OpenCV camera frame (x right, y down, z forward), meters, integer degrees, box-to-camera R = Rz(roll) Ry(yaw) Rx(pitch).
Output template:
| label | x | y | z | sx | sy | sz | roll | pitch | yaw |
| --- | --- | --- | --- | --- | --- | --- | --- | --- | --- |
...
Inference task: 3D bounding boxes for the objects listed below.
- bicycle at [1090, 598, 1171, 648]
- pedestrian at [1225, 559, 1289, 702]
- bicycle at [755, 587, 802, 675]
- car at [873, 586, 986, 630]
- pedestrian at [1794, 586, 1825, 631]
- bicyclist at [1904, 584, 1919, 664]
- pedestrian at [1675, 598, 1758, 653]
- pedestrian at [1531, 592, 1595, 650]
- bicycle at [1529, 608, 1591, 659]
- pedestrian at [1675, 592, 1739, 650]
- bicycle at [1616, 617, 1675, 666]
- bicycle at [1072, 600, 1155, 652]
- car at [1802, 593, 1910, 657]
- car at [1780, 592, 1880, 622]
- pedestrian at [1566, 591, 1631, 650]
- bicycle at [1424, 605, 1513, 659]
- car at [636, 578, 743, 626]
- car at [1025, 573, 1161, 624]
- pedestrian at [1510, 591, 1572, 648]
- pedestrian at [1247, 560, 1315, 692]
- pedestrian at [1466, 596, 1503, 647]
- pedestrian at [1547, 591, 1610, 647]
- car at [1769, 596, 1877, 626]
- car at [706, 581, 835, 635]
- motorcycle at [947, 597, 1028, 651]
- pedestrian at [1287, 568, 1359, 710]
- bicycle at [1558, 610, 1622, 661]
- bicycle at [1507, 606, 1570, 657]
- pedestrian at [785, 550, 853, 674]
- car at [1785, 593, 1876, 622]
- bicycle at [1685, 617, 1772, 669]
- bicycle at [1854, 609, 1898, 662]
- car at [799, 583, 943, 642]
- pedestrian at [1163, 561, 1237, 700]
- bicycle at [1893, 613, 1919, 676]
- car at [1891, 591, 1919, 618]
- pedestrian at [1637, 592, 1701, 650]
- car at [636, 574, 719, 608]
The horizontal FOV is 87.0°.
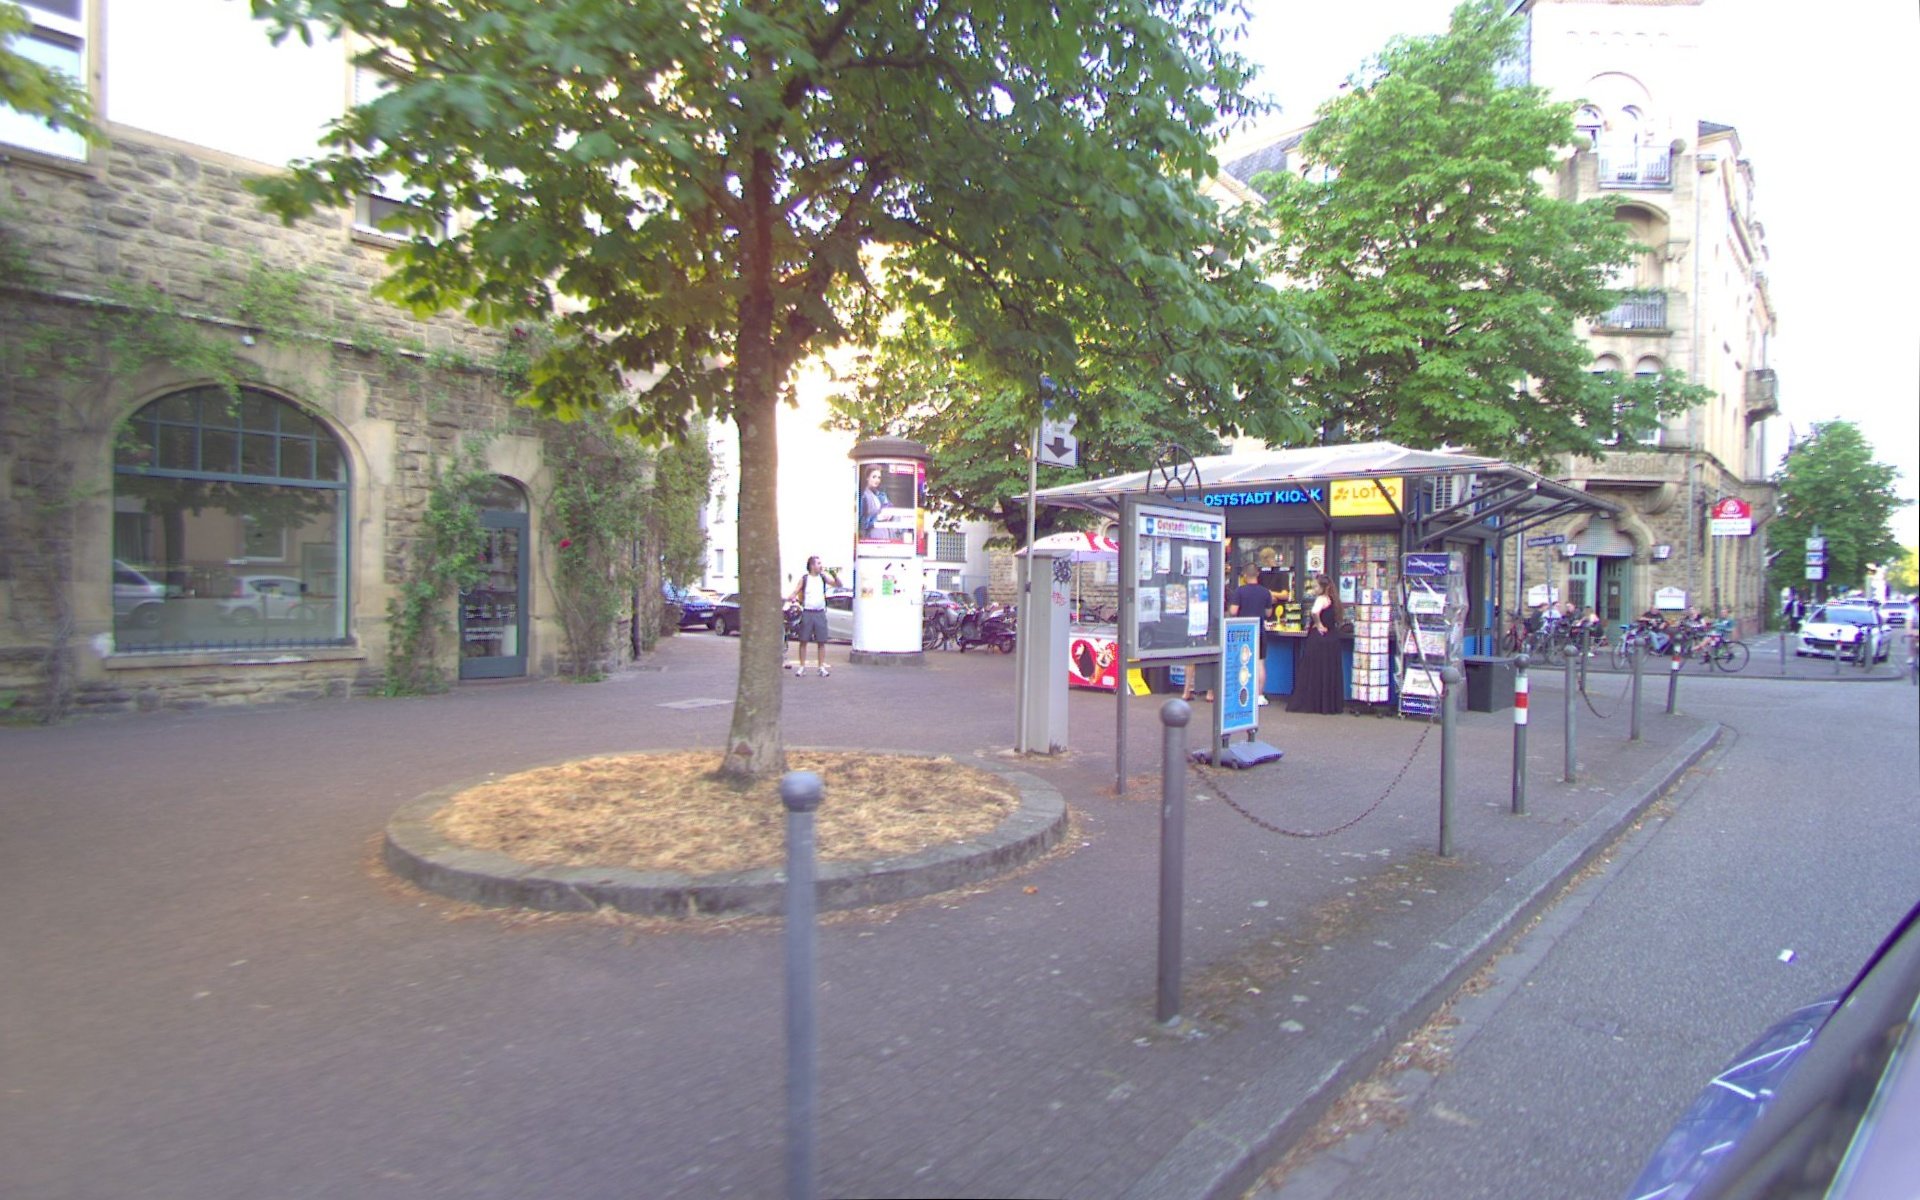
| label | x | y | z | sx | sy | sz | roll | pitch | yaw |
| --- | --- | --- | --- | --- | --- | --- | --- | --- | --- |
| bicycle | 3.696 | 0.487 | 22.021 | 1.734 | 1.008 | 0.570 | 2 | 1 | 44 |
| pedestrian | 3.554 | 0.351 | 12.141 | 0.668 | 1.657 | 0.588 | 1 | 1 | 13 |
| bicycle | -2.704 | 0.428 | 15.202 | 0.622 | 1.202 | 1.917 | 1 | 2 | -8 |
| car | -1.114 | 0.268 | 36.222 | 3.889 | 1.502 | 1.800 | 0 | 0 | 41 |
| pedestrian | 35.266 | 0.341 | 42.019 | 0.819 | 1.788 | 0.850 | 1 | 2 | -43 |
| bicyclist | 18.750 | 0.460 | 19.455 | 0.954 | 1.531 | 0.686 | 1 | 0 | -35 |
| pedestrian | 18.944 | 0.630 | 25.374 | 1.392 | 1.301 | 0.841 | 2 | 2 | 1 |
| pedestrian | 15.140 | 0.512 | 25.431 | 1.082 | 1.414 | 0.843 | 0 | 2 | -6 |
| bicycle | 13.517 | 0.733 | 22.776 | 1.799 | 1.084 | 0.476 | 0 | 0 | -34 |
| pedestrian | 19.245 | 0.542 | 26.083 | 1.081 | 1.414 | 0.843 | 2 | 1 | -25 |
| bicycle | 14.733 | 0.868 | 21.732 | 1.673 | 0.992 | 0.448 | 0 | 0 | -34 |
| bicycle | 3.228 | 0.524 | 21.430 | 1.734 | 1.008 | 0.570 | 2 | 1 | 44 |
| car | 24.763 | 0.652 | 27.931 | 4.388 | 1.502 | 1.766 | 1 | 3 | -43 |
| car | 49.553 | 0.380 | 57.694 | 4.289 | 1.548 | 1.795 | 2 | 1 | 43 |
| pedestrian | 16.081 | 0.505 | 25.499 | 1.081 | 1.414 | 0.843 | 0 | 2 | -6 |
| bicycle | 11.869 | 0.733 | 23.632 | 1.819 | 1.166 | 0.552 | 1 | 0 | 30 |
| car | -9.053 | 0.059 | 33.718 | 1.797 | 1.502 | 3.896 | 0 | 0 | -45 |
| car | 4.117 | -0.037 | 31.659 | 3.891 | 1.502 | 1.799 | 0 | 0 | 42 |
| pedestrian | 15.020 | 0.488 | 26.178 | 1.082 | 1.414 | 0.843 | 0 | 2 | -6 |
| pedestrian | 4.163 | 0.317 | 13.110 | 0.674 | 1.657 | 0.583 | 1 | 1 | 35 |
| pedestrian | 13.792 | 0.552 | 26.614 | 0.703 | 1.299 | 0.865 | 1 | 0 | 38 |
| pedestrian | 15.982 | 0.481 | 26.186 | 1.081 | 1.414 | 0.843 | 0 | 2 | -6 |
| car | 45.366 | 0.551 | 53.251 | 4.289 | 1.470 | 1.795 | 2 | 1 | 43 |
| car | -5.704 | 0.221 | 30.253 | 3.989 | 1.502 | 1.798 | 0 | 0 | 43 |
| motorcycle | 0.571 | 0.489 | 21.603 | 1.827 | 1.067 | 0.570 | 2 | 1 | 44 |
| pedestrian | 4.103 | 0.419 | 11.474 | 0.668 | 1.558 | 0.588 | 1 | 1 | 13 |
| bicycle | 14.040 | 0.771 | 22.543 | 1.799 | 1.080 | 0.513 | 0 | 0 | -34 |
| bicycle | 13.326 | 0.706 | 23.287 | 1.799 | 1.126 | 0.503 | 0 | 0 | -34 |
| pedestrian | -2.125 | 0.160 | 15.295 | 0.960 | 1.811 | 1.007 | 1 | 1 | -8 |
| car | 54.536 | 0.441 | 63.463 | 4.289 | 1.697 | 1.795 | 2 | 1 | 43 |
| bicycle | 16.118 | 0.897 | 21.237 | 1.448 | 1.052 | 0.432 | 1 | 1 | 2 |
| bicycle | 22.079 | 0.821 | 24.379 | 0.684 | 1.165 | 2.082 | 5 | 3 | 43 |
| car | -2.469 | 0.316 | 27.559 | 3.893 | 1.502 | 1.798 | 0 | 0 | 43 |
| pedestrian | 2.965 | 0.351 | 12.507 | 0.676 | 1.657 | 0.582 | 1 | 1 | 42 |
| bicycle | 18.676 | 0.835 | 19.412 | 2.074 | 1.166 | 0.686 | 0 | 0 | -35 |
| car | 63.341 | 0.304 | 67.372 | 1.951 | 1.761 | 4.219 | -2 | -1 | 42 |
| pedestrian | 18.200 | 0.530 | 26.001 | 0.880 | 1.414 | 1.012 | 3 | 0 | 0 |
| car | -13.225 | -0.406 | 47.257 | 3.886 | 1.502 | 1.801 | 0 | 0 | 38 |
